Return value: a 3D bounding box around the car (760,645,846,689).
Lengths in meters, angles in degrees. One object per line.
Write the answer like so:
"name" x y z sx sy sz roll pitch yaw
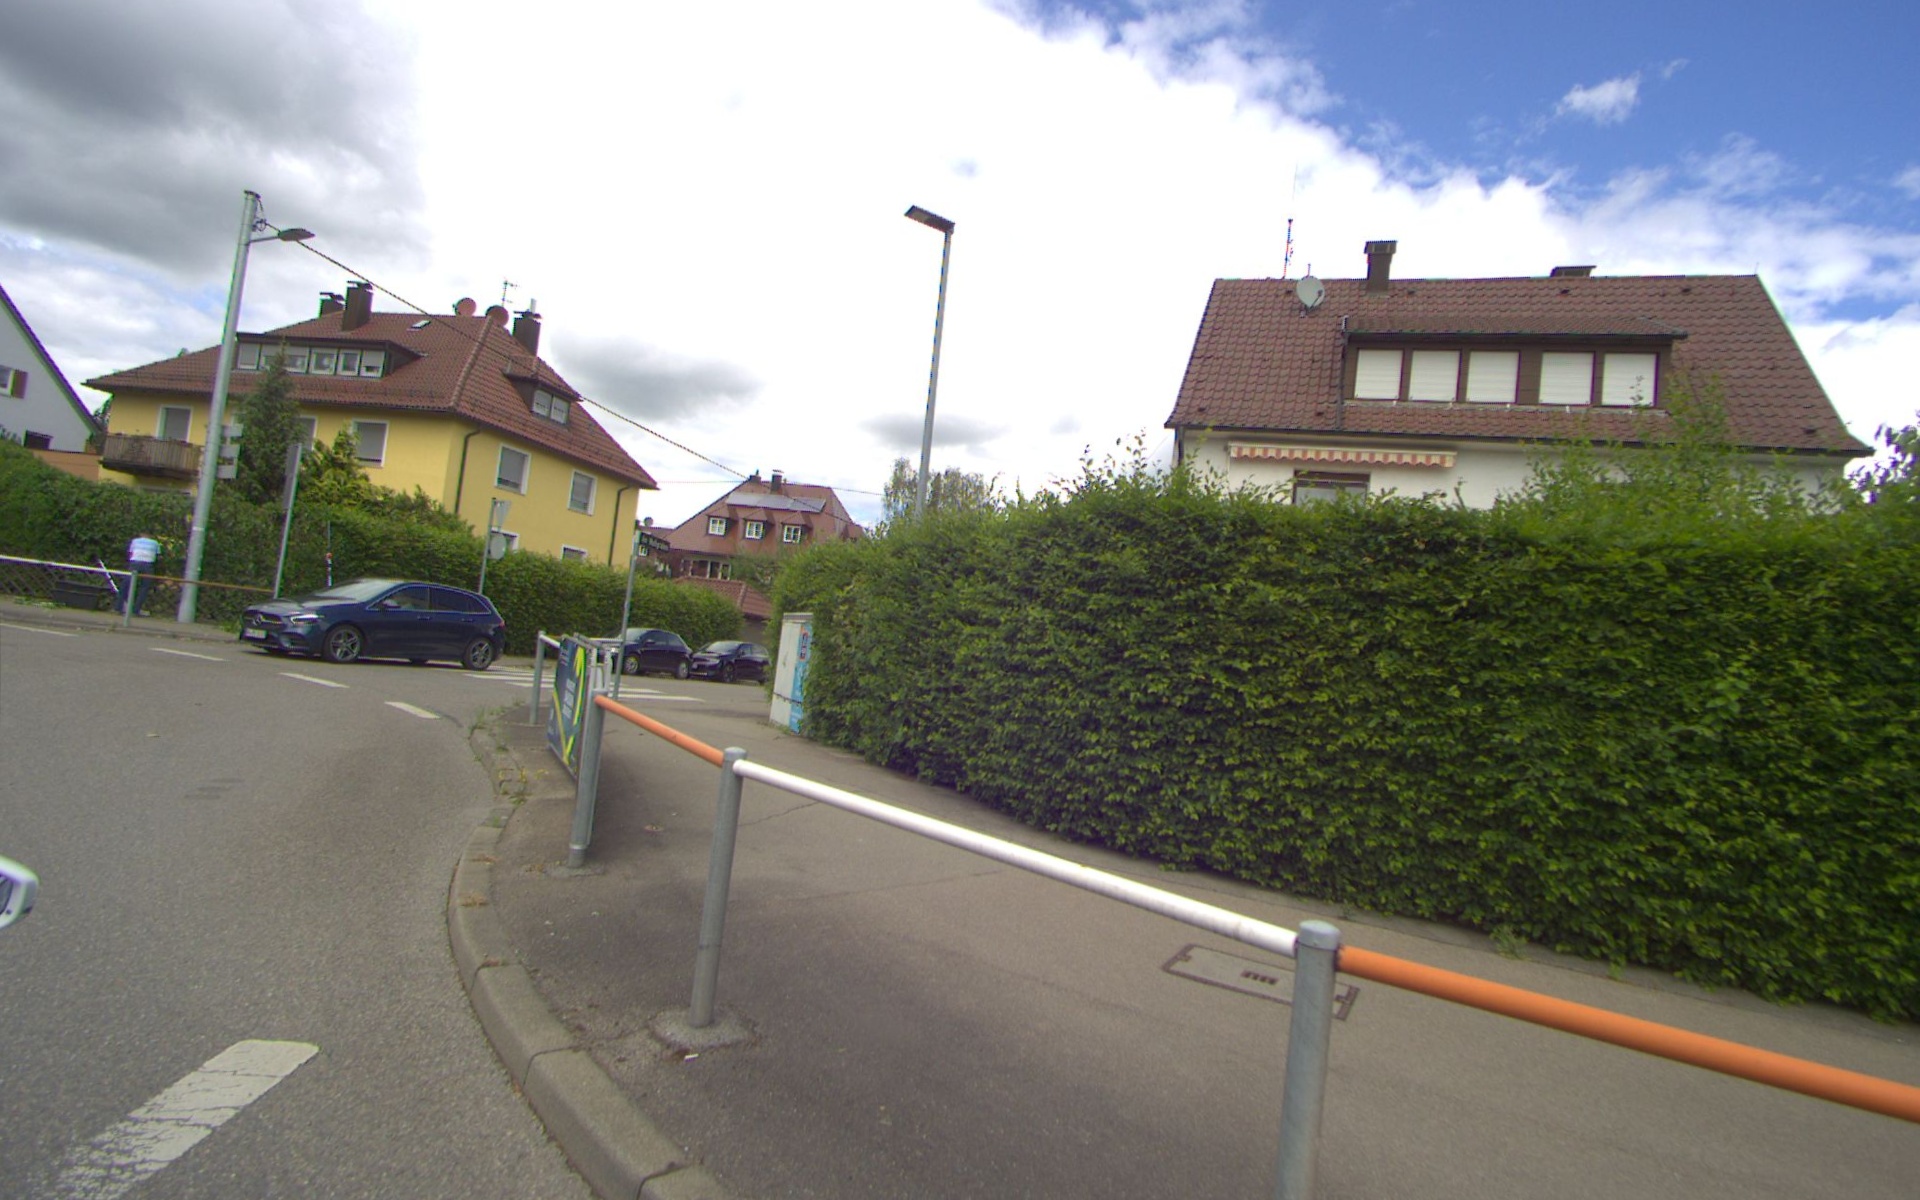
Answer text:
"car" -6.029 2.650 39.112 1.522 1.419 3.859 7 -3 19

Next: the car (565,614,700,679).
"car" -9.228 1.373 28.664 1.522 1.362 3.794 7 -5 19

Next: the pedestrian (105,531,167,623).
"pedestrian" -15.919 -0.440 19.448 0.647 1.675 0.590 8 -2 -29

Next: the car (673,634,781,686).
"car" -7.619 2.035 33.276 1.522 1.419 3.859 7 -3 19

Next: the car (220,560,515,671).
"car" -10.238 0.373 17.809 1.554 1.465 4.324 6 -3 23
